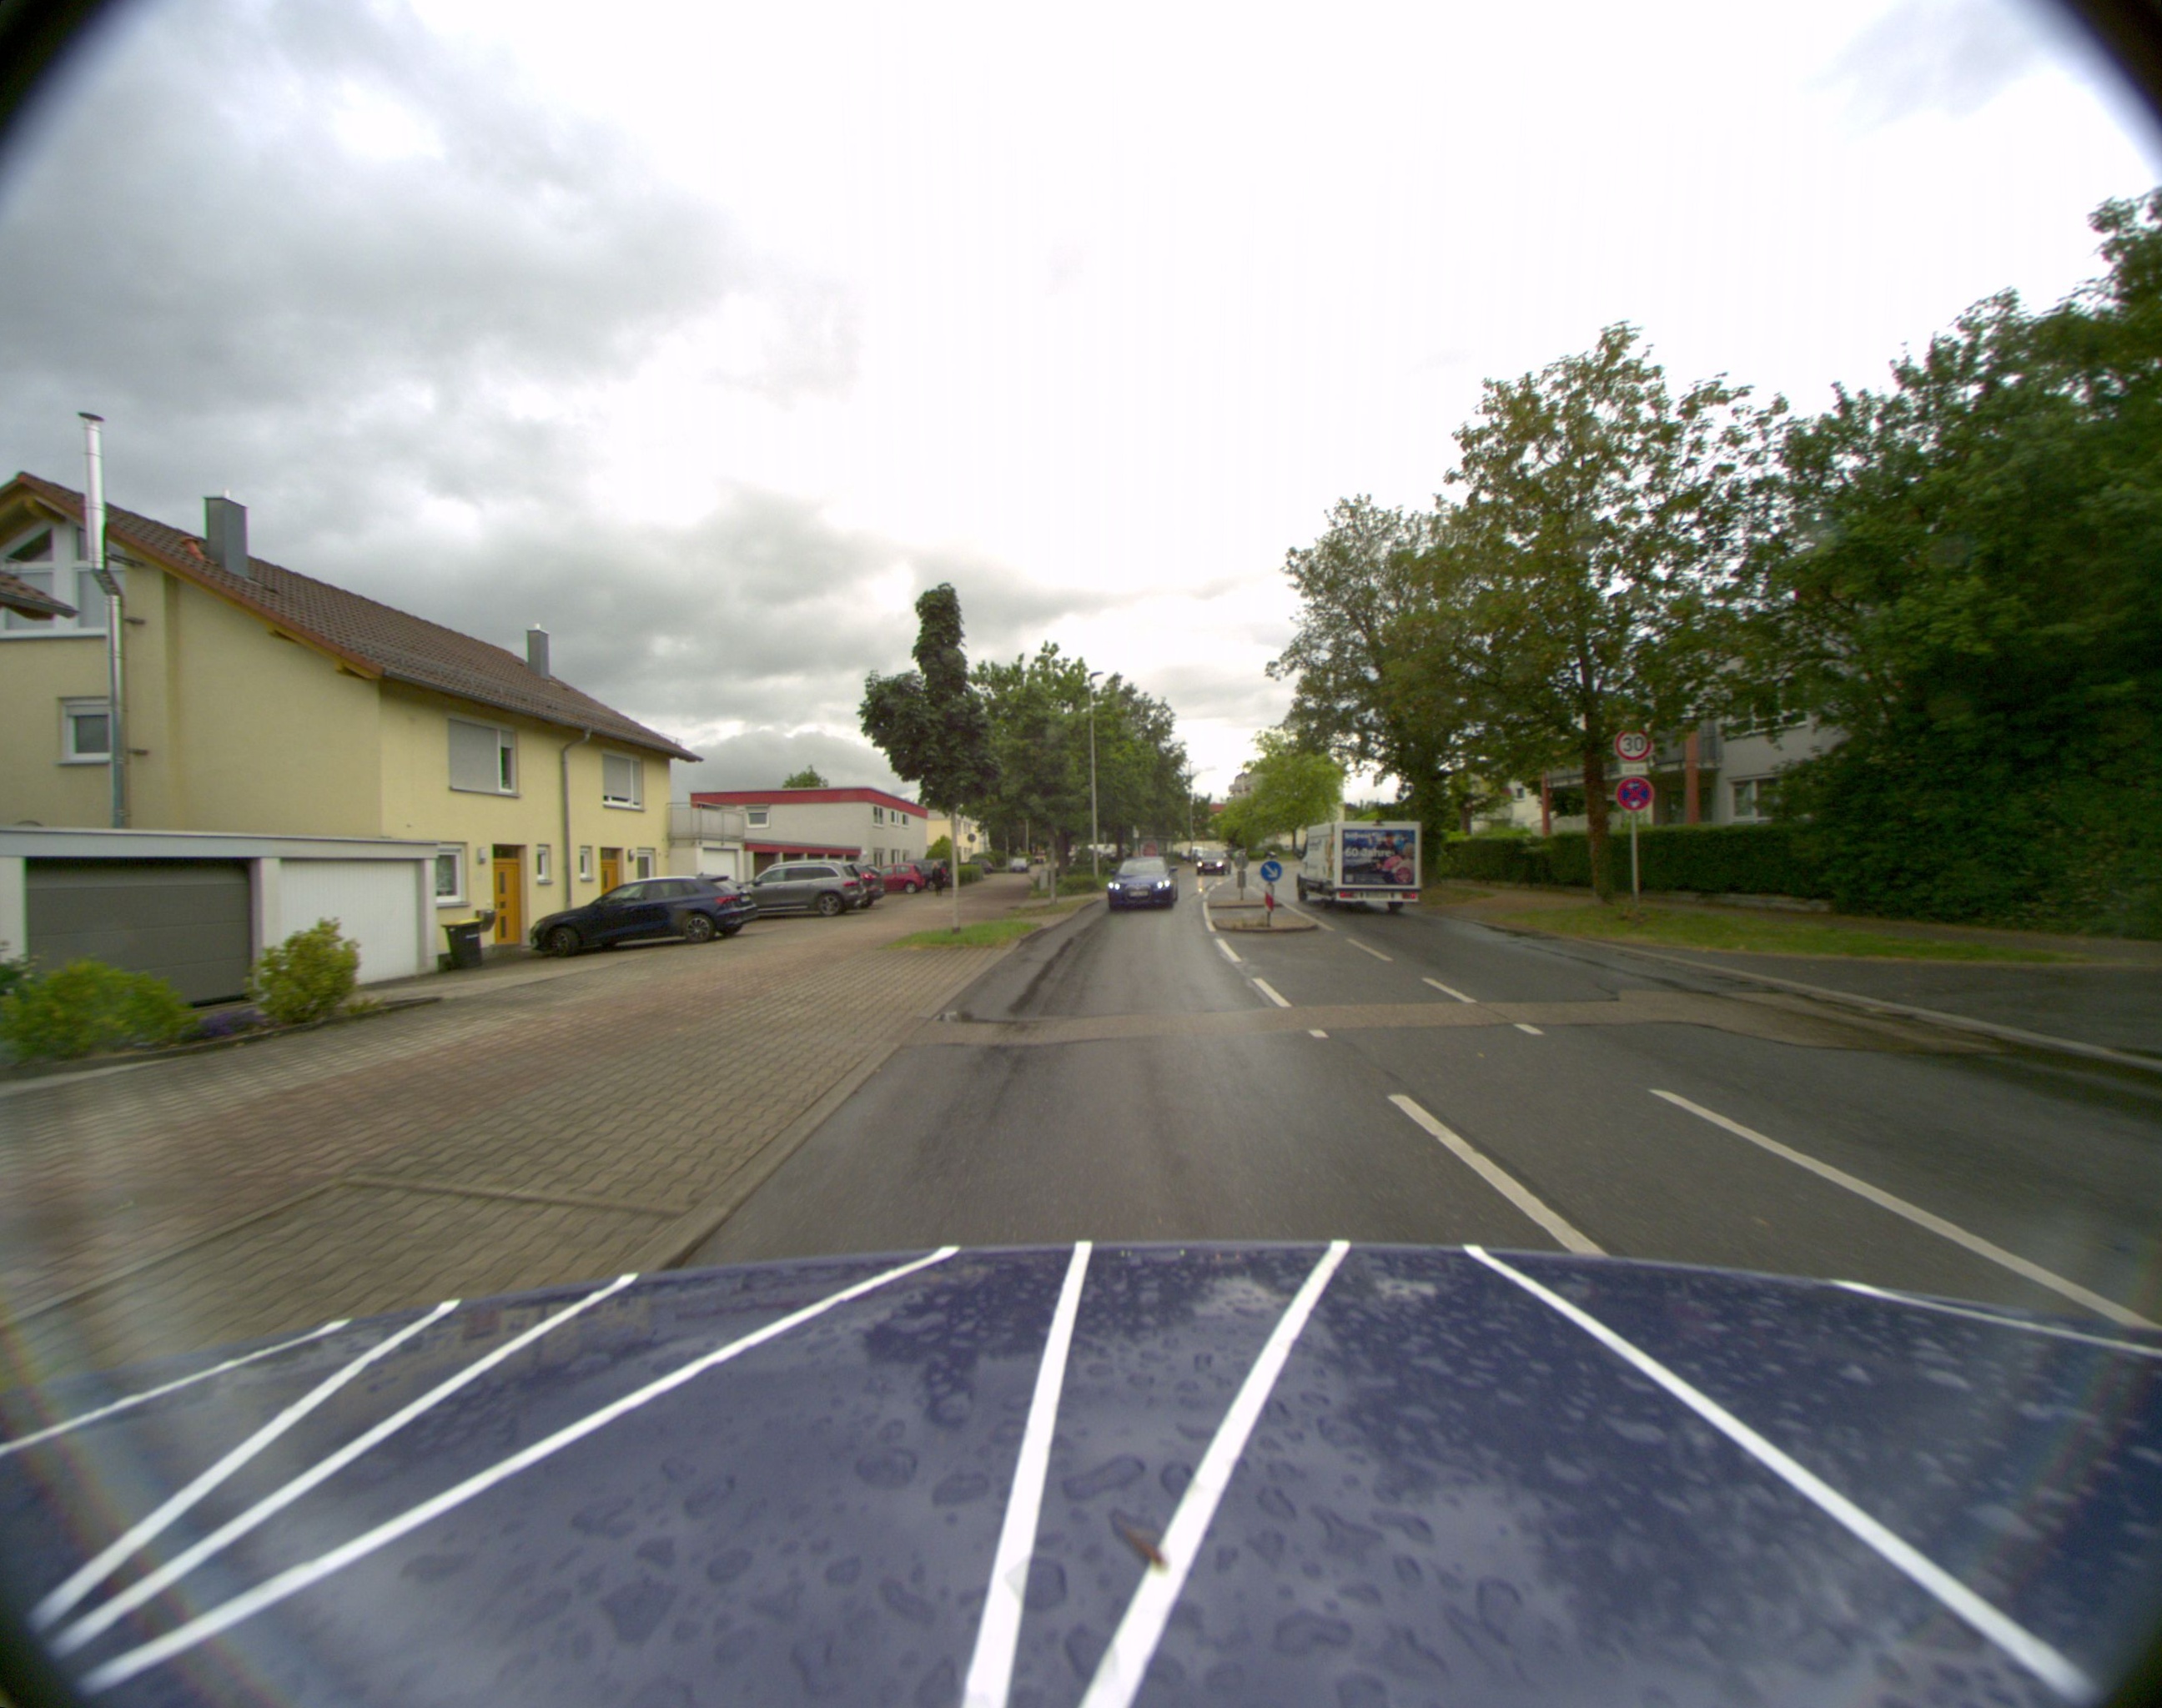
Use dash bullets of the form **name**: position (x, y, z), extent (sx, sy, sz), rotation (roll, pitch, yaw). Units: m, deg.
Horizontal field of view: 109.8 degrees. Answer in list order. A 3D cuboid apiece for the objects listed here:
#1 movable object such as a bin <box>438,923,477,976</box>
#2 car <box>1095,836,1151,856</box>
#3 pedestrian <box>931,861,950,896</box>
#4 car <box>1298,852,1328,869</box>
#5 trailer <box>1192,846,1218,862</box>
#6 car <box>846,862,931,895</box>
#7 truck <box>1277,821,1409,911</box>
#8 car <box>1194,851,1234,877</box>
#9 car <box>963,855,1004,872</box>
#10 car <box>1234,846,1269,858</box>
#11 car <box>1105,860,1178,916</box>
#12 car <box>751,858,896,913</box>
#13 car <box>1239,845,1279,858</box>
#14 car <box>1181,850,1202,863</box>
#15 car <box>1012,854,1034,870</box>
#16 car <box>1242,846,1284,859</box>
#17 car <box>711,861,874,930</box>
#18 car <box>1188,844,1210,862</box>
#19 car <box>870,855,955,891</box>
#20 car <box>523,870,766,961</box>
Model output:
- **movable object such as a bin**: position (-11.823, 1.808, 14.417), extent (0.483, 0.917, 0.366), rotation (-6, 3, -43)
- **car**: position (4.616, -0.870, 83.472), extent (5.825, 2.002, 2.003), rotation (-1, 1, 24)
- **pedestrian**: position (-6.303, 1.095, 34.109), extent (0.666, 1.549, 0.842), rotation (-2, 1, -5)
- **car**: position (24.206, 0.679, 79.058), extent (1.837, 1.541, 4.007), rotation (-2, 0, 34)
- **trailer**: position (12.990, -0.022, 79.632), extent (1.998, 1.534, 4.426), rotation (-2, 0, 1)
- **car**: position (-9.385, 1.182, 37.283), extent (3.702, 1.433, 1.706), rotation (-2, 1, -1)
- **truck**: position (7.297, 0.323, 22.001), extent (2.221, 2.190, 6.467), rotation (-1, 0, 6)
- **car**: position (8.259, 0.614, 46.975), extent (1.838, 1.440, 4.005), rotation (-2, 0, 19)
- **car**: position (-8.913, 0.846, 69.903), extent (3.621, 1.524, 1.762), rotation (1, 0, -3)
- **car**: position (21.893, -0.274, 97.485), extent (4.012, 1.434, 1.767), rotation (-1, 1, 29)
- **car**: position (1.754, 0.974, 23.004), extent (1.913, 1.425, 4.302), rotation (-4, -1, 3)
- **car**: position (-8.711, 1.051, 25.991), extent (4.190, 1.662, 1.991), rotation (-2, 1, 1)
- **car**: position (22.046, -0.317, 94.180), extent (4.575, 1.434, 1.767), rotation (-1, 1, 29)
- **car**: position (13.233, 0.284, 91.160), extent (1.764, 1.374, 4.186), rotation (-2, 0, -1)
- **car**: position (-5.757, 0.778, 75.507), extent (1.691, 1.501, 3.826), rotation (-2, 0, 2)
- **car**: position (21.867, -0.172, 91.446), extent (4.575, 1.434, 1.767), rotation (-1, 1, 29)
- **car**: position (-8.562, 1.208, 22.880), extent (4.192, 1.662, 1.720), rotation (-4, 1, -7)
- **car**: position (13.297, -0.125, 85.689), extent (1.998, 1.870, 4.213), rotation (-2, 0, 4)
- **car**: position (-8.769, 0.981, 39.902), extent (3.997, 1.711, 1.924), rotation (-2, 1, -1)
- **car**: position (-9.033, 1.243, 15.999), extent (3.998, 1.379, 1.674), rotation (-6, 0, -5)
